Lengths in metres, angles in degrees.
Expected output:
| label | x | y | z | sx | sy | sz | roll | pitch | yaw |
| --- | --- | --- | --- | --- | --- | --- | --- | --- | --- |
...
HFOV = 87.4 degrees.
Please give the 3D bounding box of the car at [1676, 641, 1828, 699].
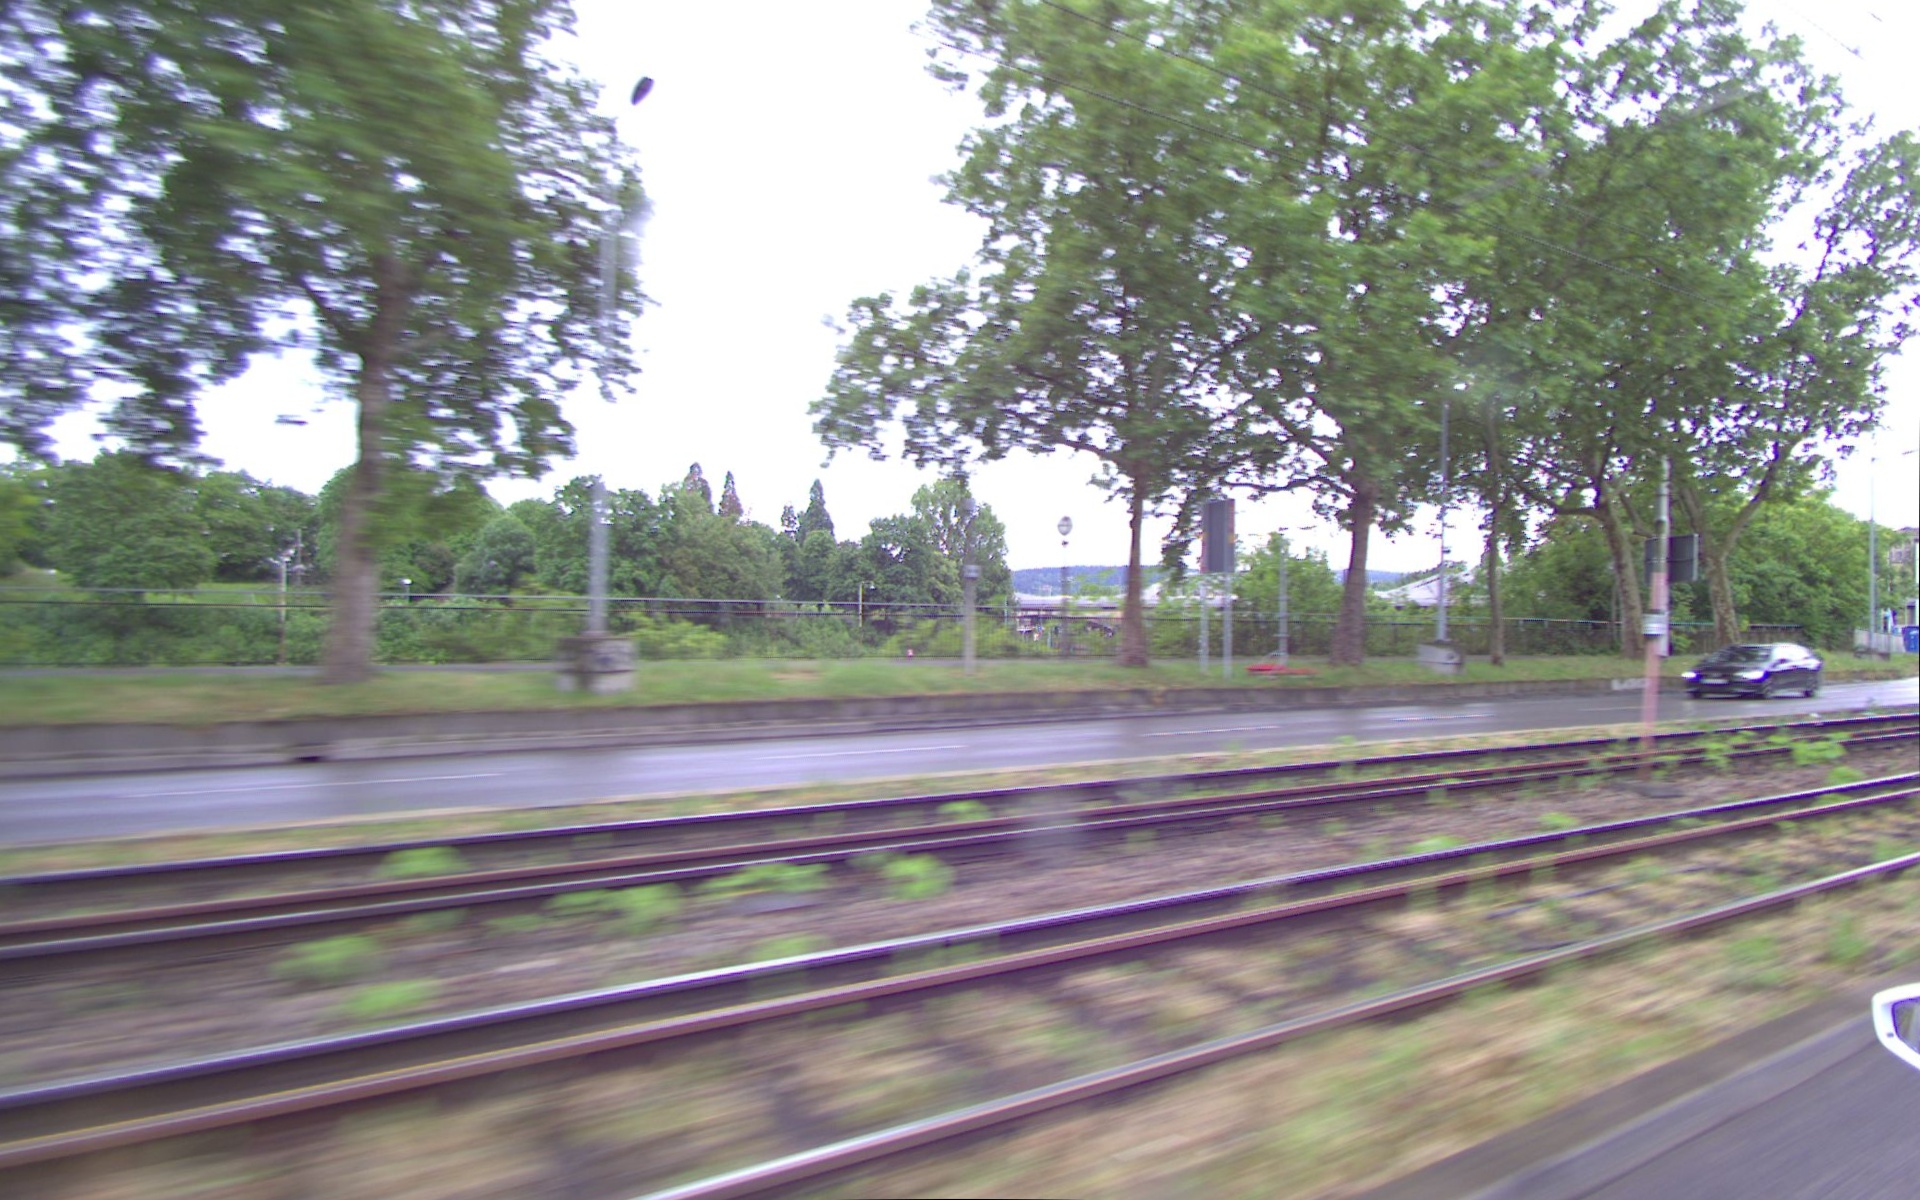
| label | x | y | z | sx | sy | sz | roll | pitch | yaw |
| --- | --- | --- | --- | --- | --- | --- | --- | --- | --- |
| car | 21.189 | 1.821 | 26.836 | 4.509 | 1.448 | 1.738 | 2 | -3 | -31 |
